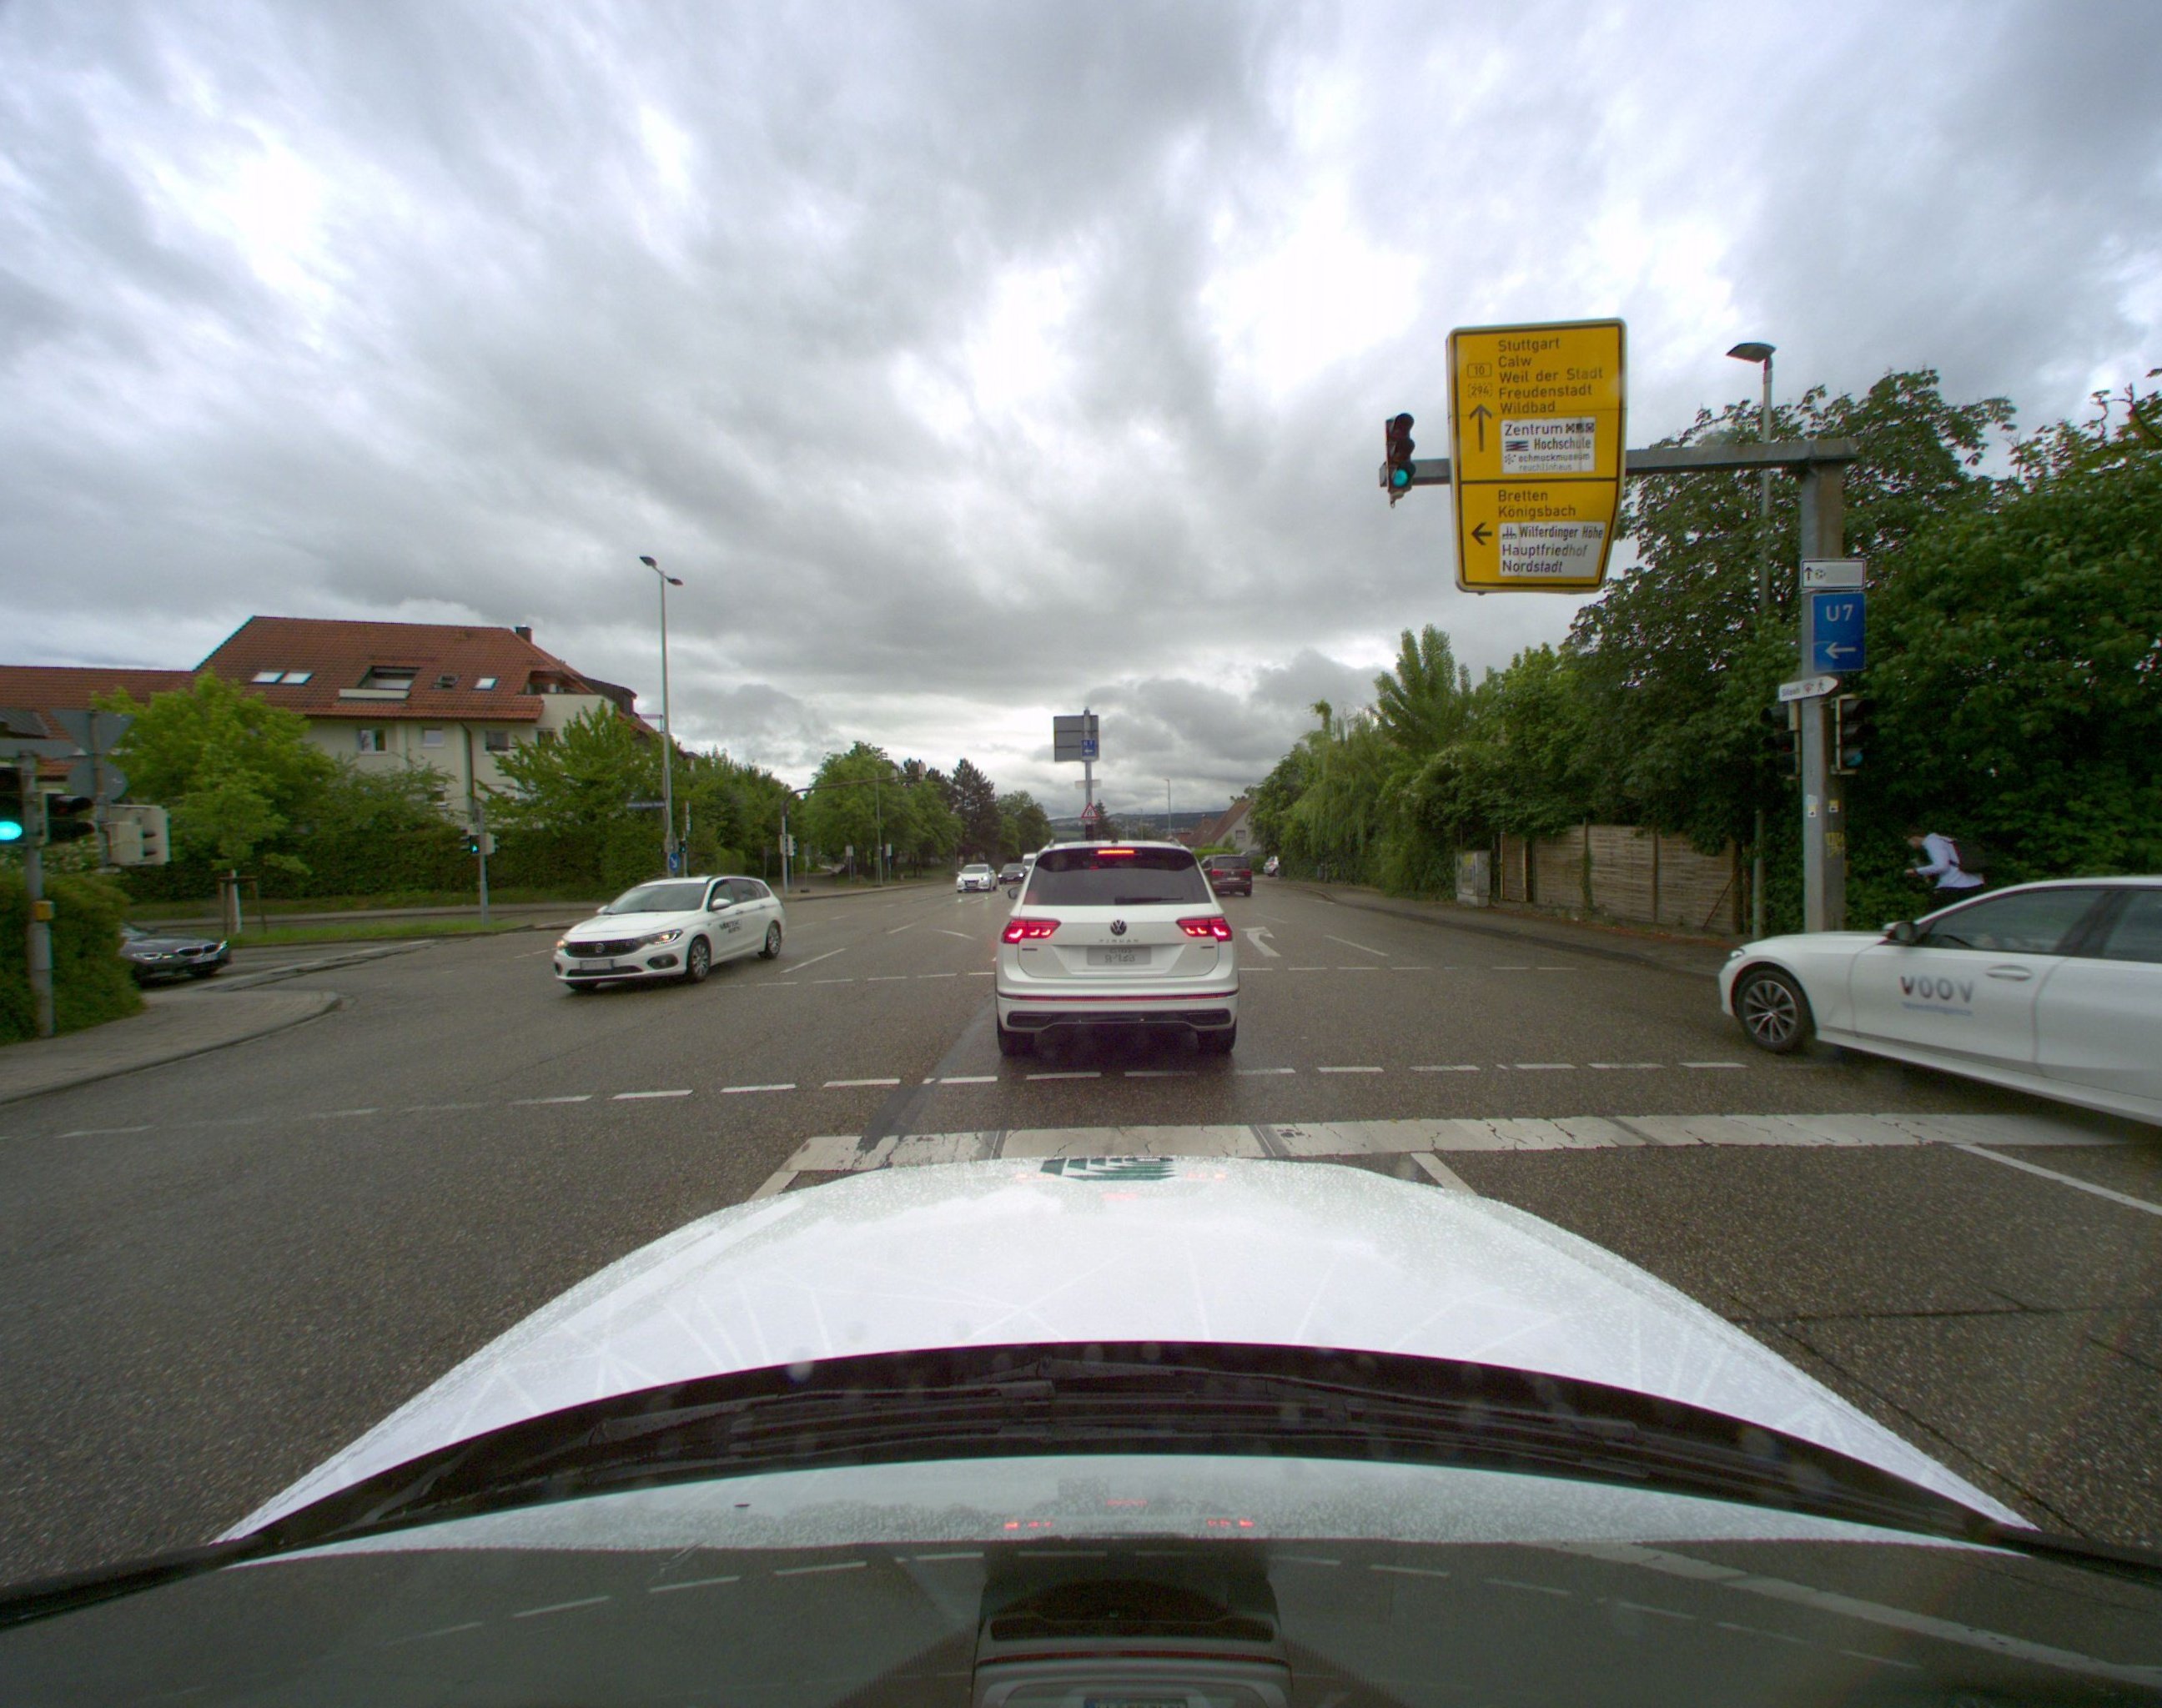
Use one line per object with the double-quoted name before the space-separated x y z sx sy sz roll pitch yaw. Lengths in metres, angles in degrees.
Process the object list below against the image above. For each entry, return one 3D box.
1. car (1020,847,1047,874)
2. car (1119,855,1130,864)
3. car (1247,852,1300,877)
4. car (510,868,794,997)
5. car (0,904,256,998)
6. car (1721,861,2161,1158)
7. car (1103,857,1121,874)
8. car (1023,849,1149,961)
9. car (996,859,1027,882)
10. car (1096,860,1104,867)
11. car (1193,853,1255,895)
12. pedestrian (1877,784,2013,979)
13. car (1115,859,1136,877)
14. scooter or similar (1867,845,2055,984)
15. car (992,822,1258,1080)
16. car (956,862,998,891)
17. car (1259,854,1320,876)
"car" -4.632 0.647 80.916 2.290 2.528 5.772 -2 0 0
"car" 7.786 0.988 145.996 1.843 1.574 4.002 -2 0 2
"car" 14.563 0.754 61.764 3.618 1.746 1.707 -1 2 -2
"car" -6.241 1.046 12.565 1.960 1.454 4.310 -3 0 1
"car" -20.201 1.991 16.705 4.412 1.392 1.774 -4 2 -4
"car" 6.113 0.773 4.598 1.659 1.427 4.305 0 0 0
"car" 3.228 1.194 85.218 1.706 1.758 3.802 -1 0 1
"car" 0.151 0.730 13.622 1.791 1.589 3.928 -1 0 2
"car" -5.028 1.161 59.449 1.770 1.502 4.472 -4 0 1
"car" 4.633 2.323 200.380 1.843 1.574 4.002 -2 0 2
"car" 5.633 0.754 32.513 1.730 1.575 4.067 0 0 0
"pedestrian" 9.301 0.283 8.797 0.654 2.002 0.717 -1 -1 -2
"car" 3.754 1.138 69.153 1.675 1.460 3.802 0 0 1
"scooter or similar" 9.386 0.601 8.759 0.460 1.361 1.384 -1 0 -2
"car" 0.334 0.645 7.560 1.756 1.696 4.273 1 0 1
"car" -5.512 1.179 43.599 1.740 1.397 3.801 -1 0 0
"car" 14.385 0.747 56.363 3.709 1.395 1.725 -2 -2 -6
